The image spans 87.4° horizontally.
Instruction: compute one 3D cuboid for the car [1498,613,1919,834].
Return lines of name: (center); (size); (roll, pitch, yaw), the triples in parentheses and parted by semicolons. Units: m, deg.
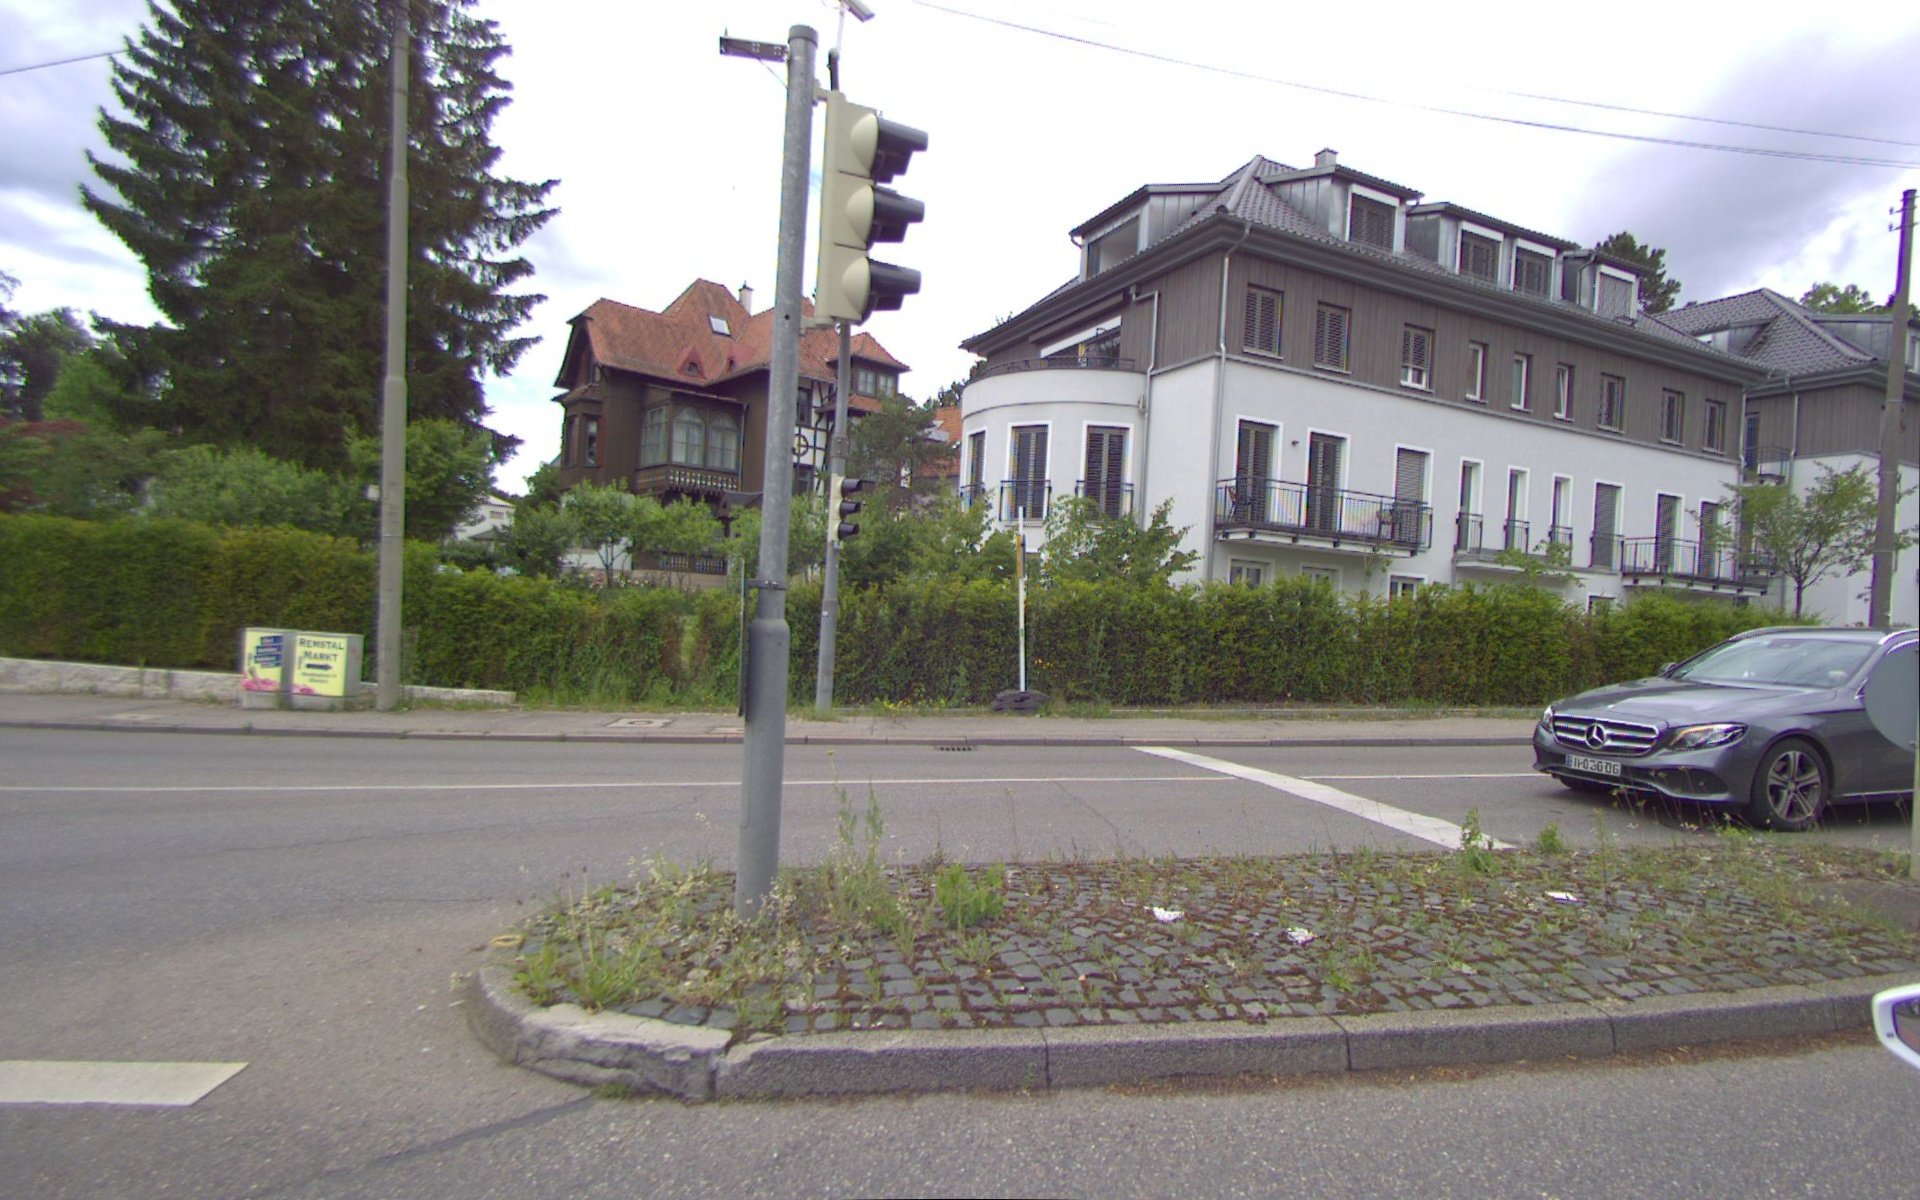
car: (7.131, 0.907, 8.366); (4.667, 1.505, 1.826); (1, 0, -14)
